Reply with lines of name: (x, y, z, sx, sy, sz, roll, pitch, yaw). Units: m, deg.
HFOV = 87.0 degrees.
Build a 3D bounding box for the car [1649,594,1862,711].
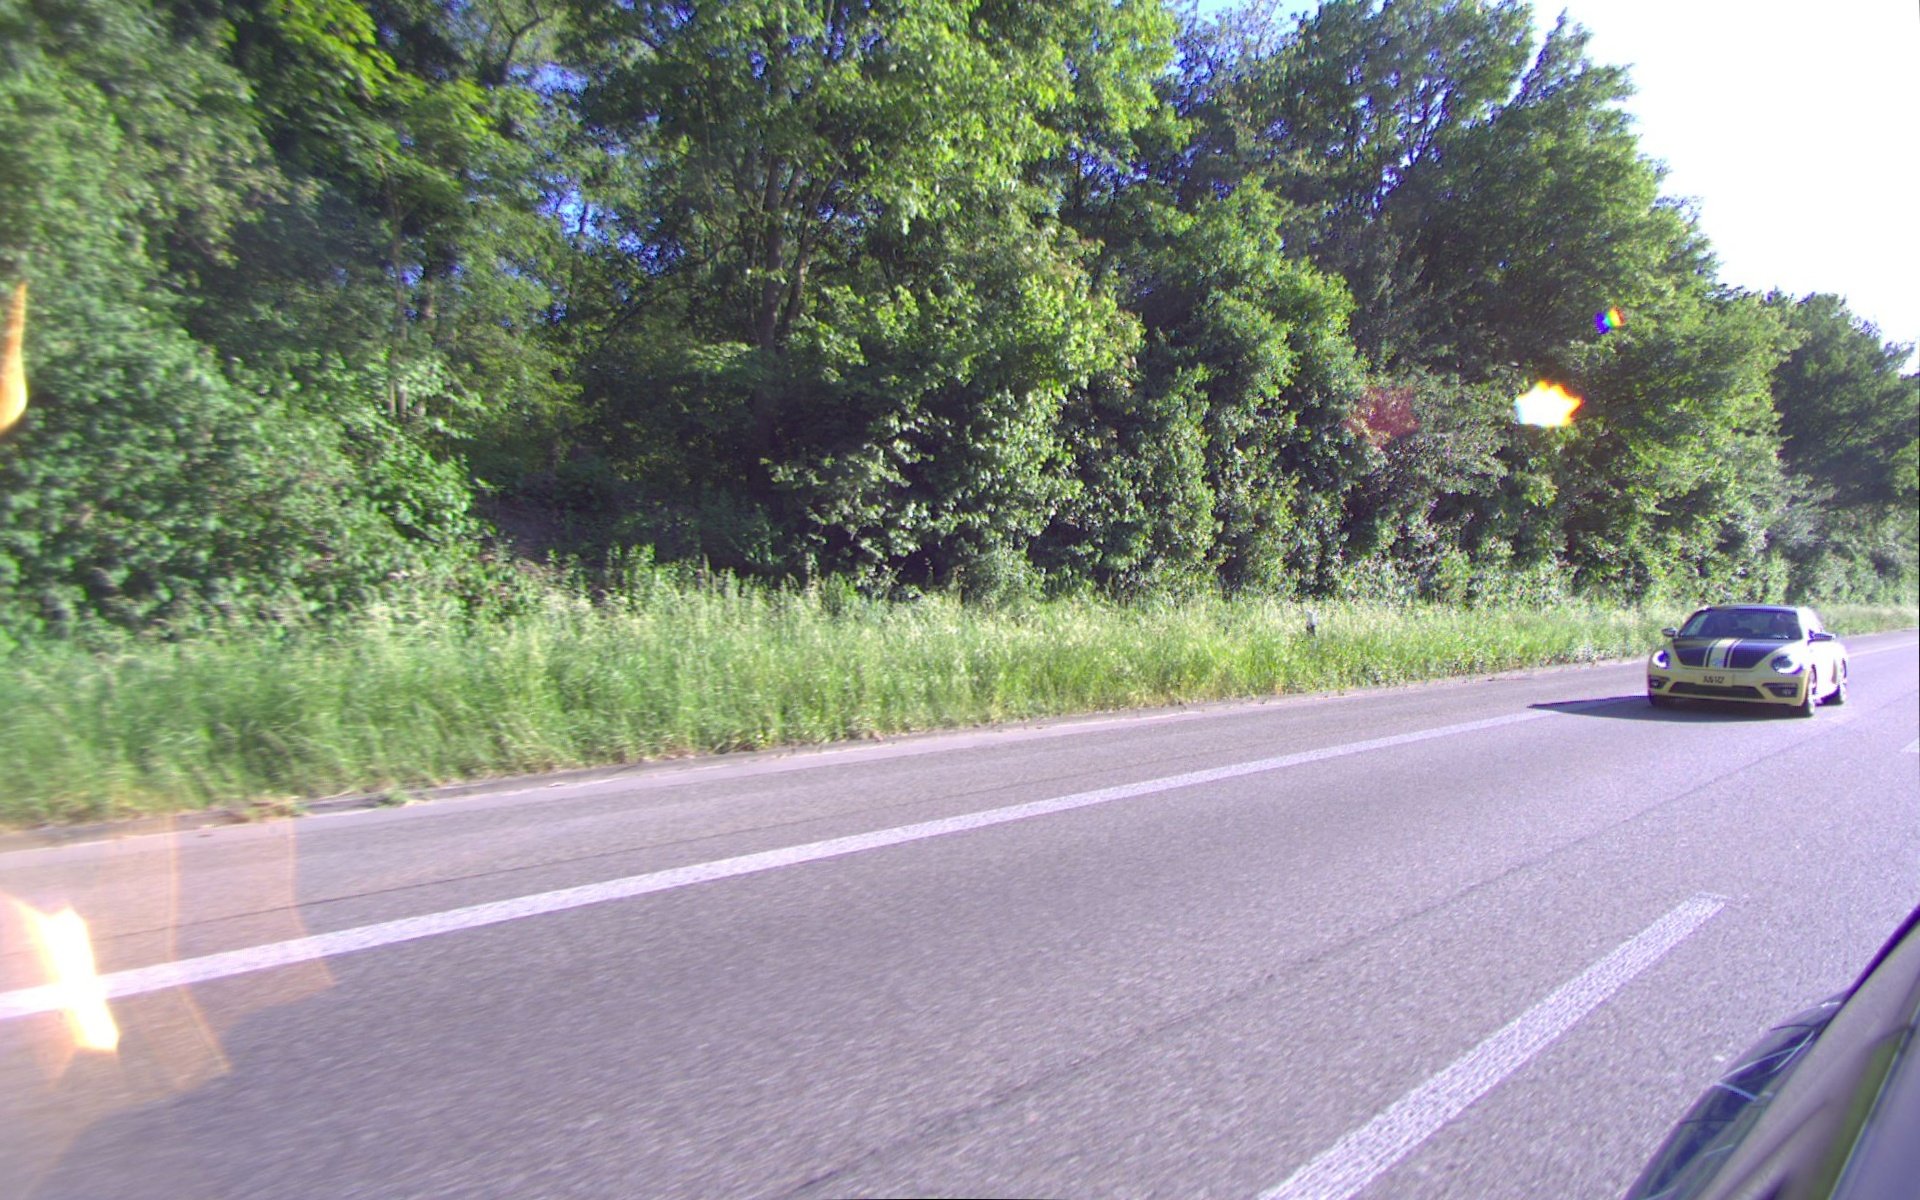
car: (11.574, 0.652, 14.641, 3.811, 1.467, 1.793, 0, 0, -42)
